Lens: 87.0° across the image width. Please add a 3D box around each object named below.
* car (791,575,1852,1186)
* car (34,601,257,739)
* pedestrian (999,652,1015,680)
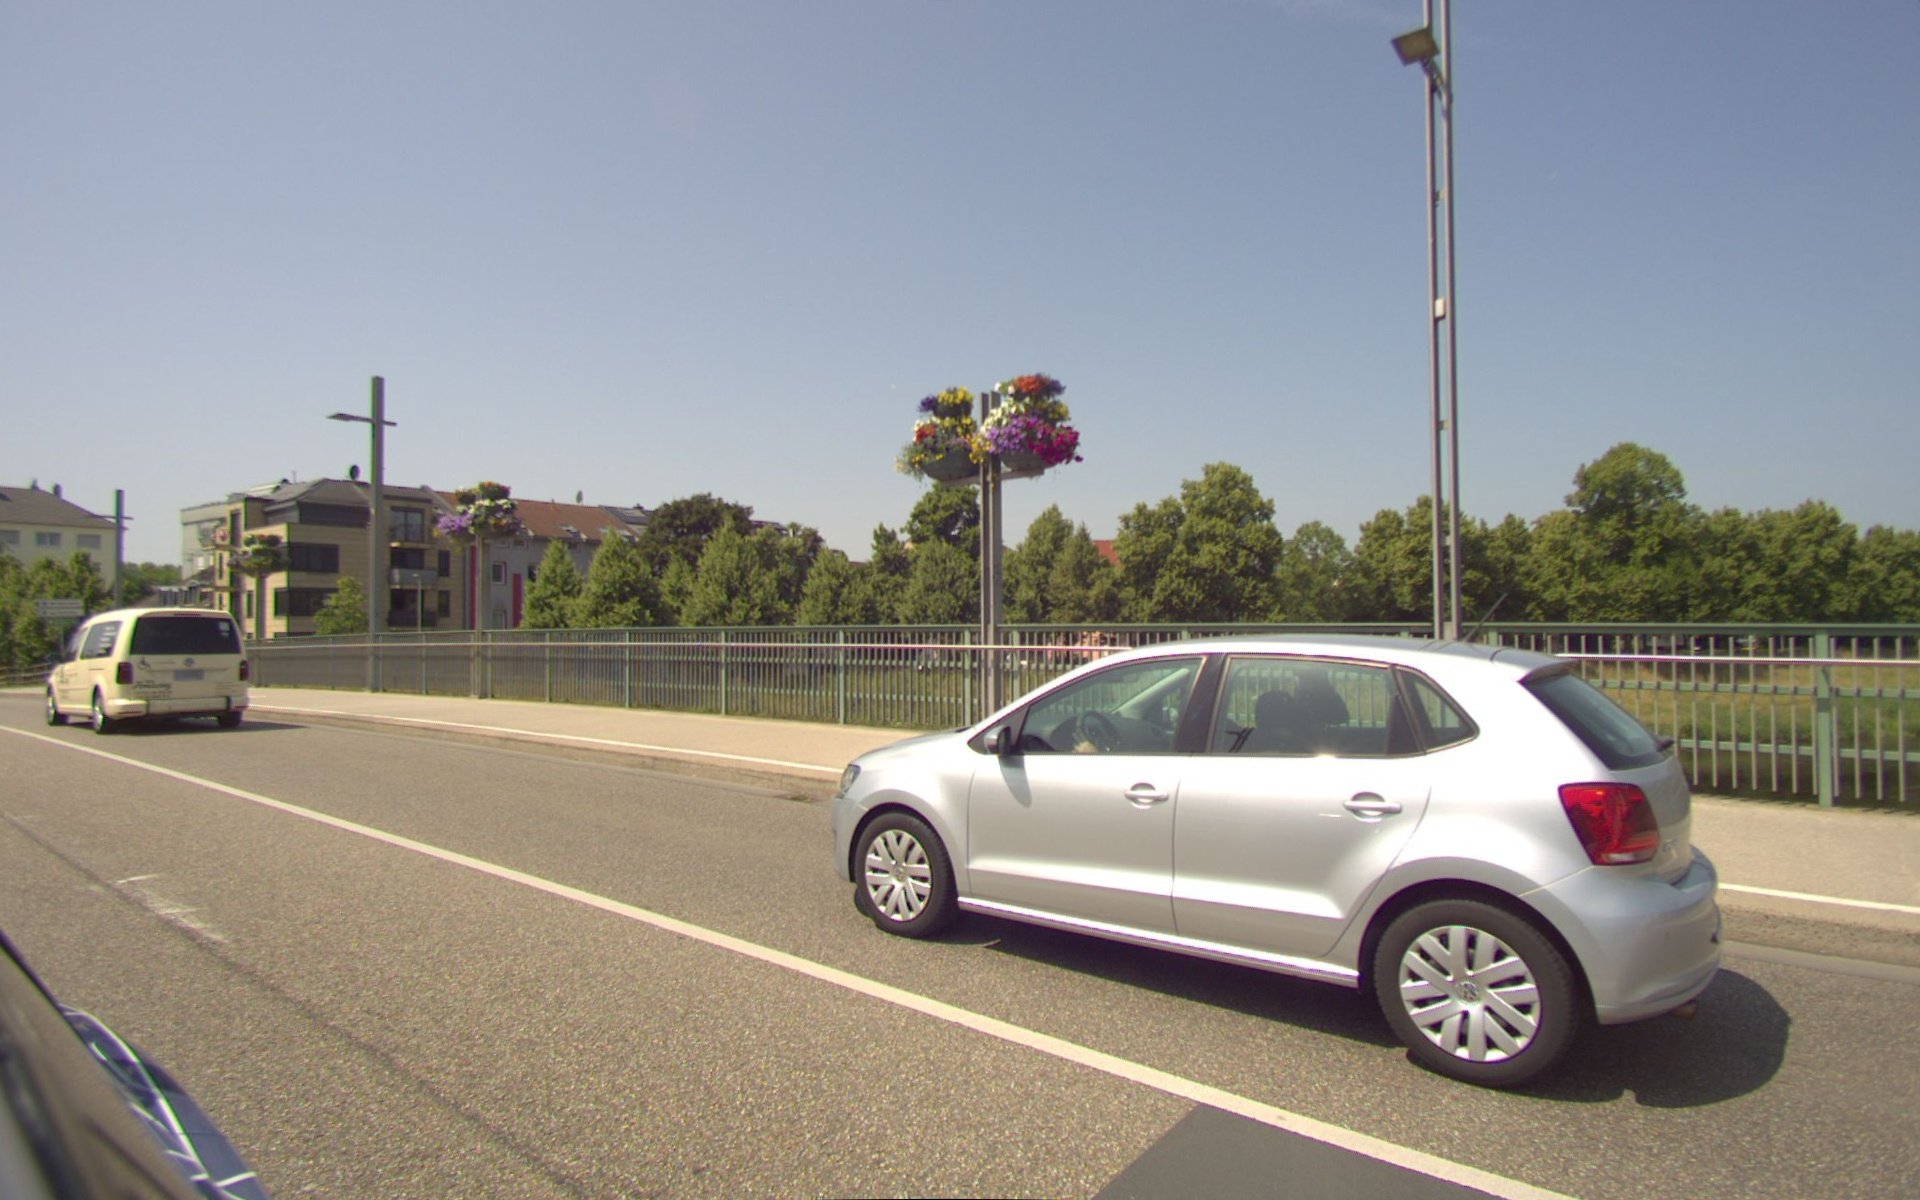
[{"bbox_3d":[1.249,0.798,4.528,3.996,1.531,1.743,-2,-5,40],"label":"car"},{"bbox_3d":[-12.881,1.019,15.904,4.640,1.871,1.742,-2,-2,38],"label":"car"},{"bbox_3d":[3.498,4.916,75.618,0.881,2.029,0.717,-2,-1,35],"label":"pedestrian"}]
